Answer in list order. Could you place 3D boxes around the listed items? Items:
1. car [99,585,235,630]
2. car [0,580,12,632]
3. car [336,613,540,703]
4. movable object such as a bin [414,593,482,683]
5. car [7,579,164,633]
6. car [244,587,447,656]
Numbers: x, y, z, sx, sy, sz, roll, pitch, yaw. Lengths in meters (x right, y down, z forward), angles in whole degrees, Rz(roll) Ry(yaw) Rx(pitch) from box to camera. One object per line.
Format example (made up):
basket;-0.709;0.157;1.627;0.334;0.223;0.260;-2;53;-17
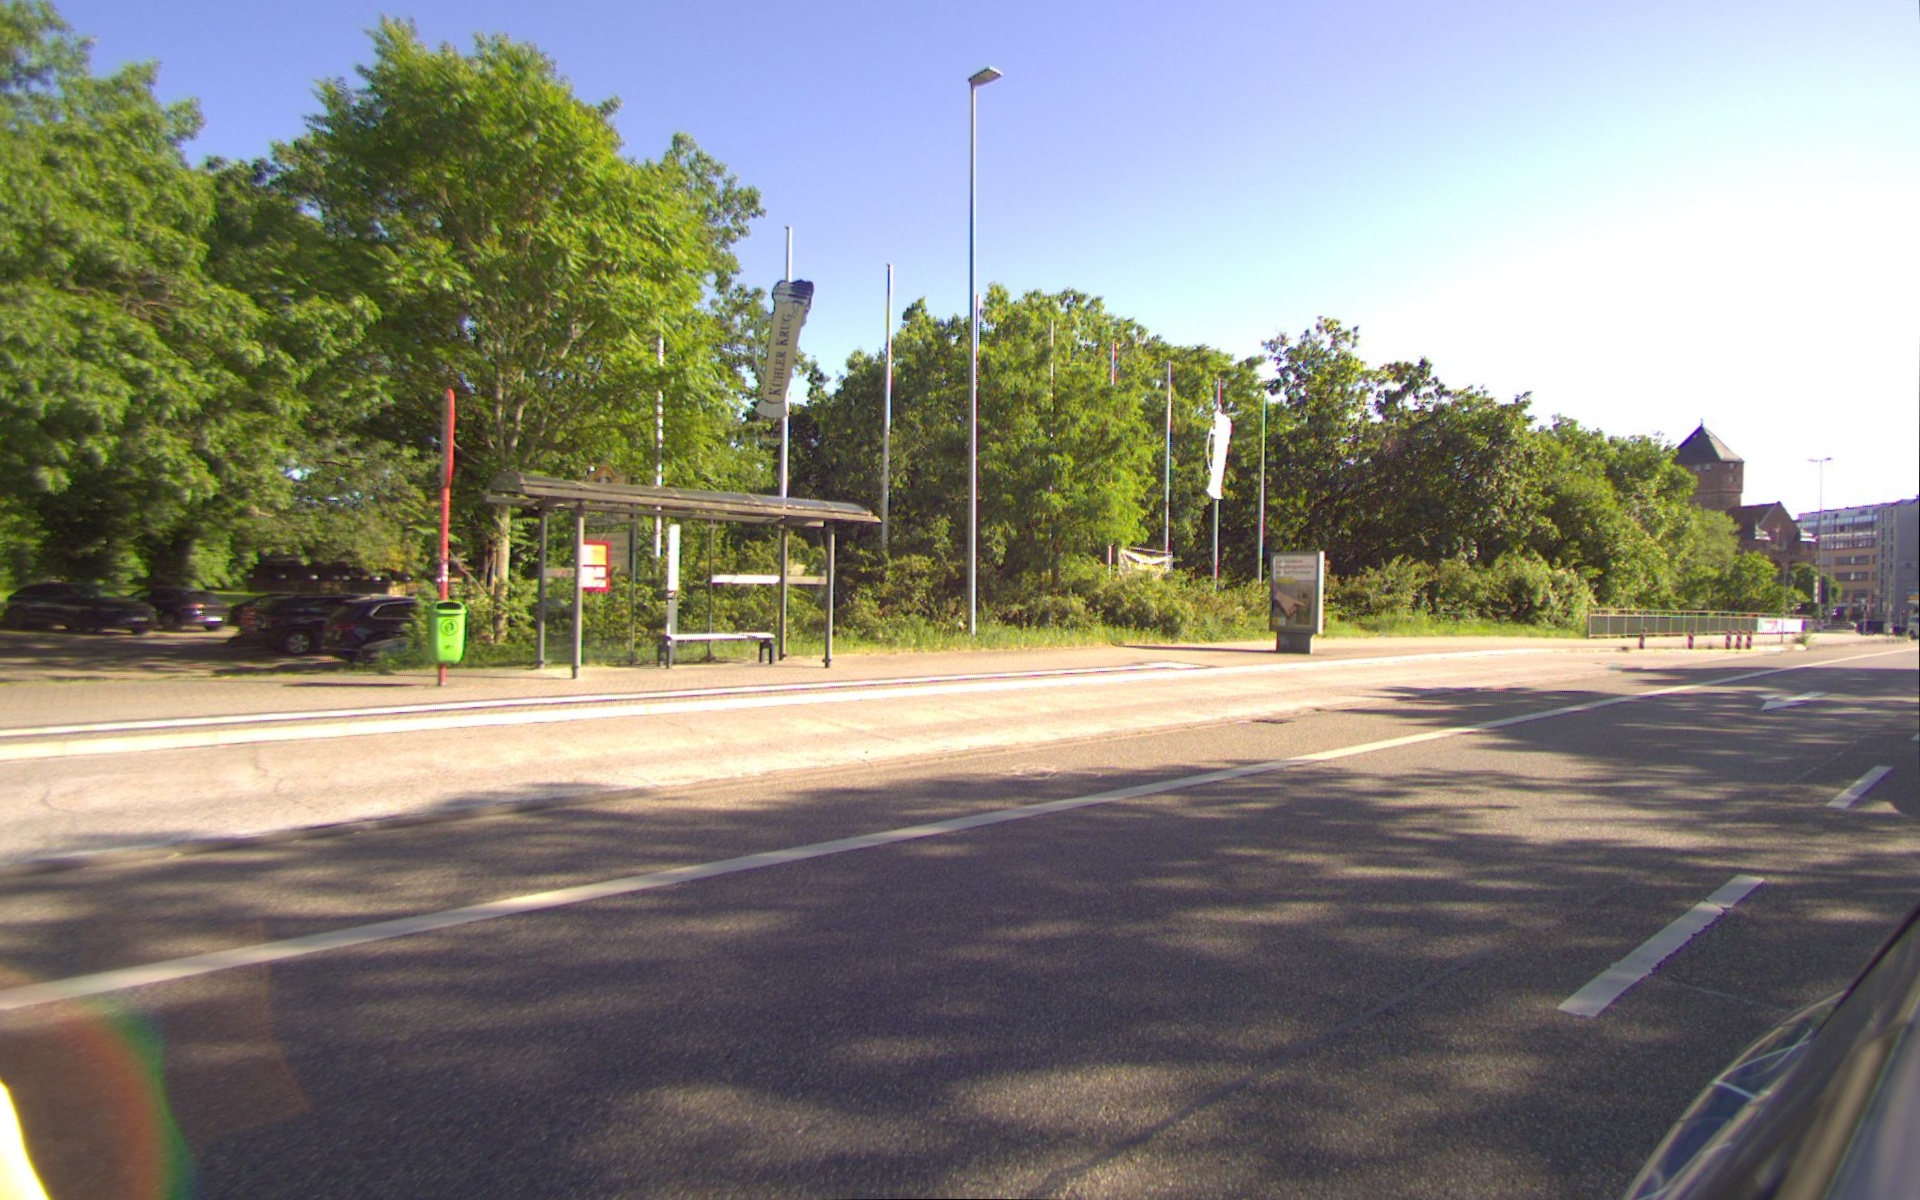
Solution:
car;-29.244;0.269;37.354;3.937;1.467;1.780;2;0;11
car;-30.339;0.202;29.197;3.918;1.575;2.003;-1;0;-27
car;-11.012;1.147;21.428;3.549;1.658;1.766;0;1;-40
movable object such as a bin;-6.248;0.444;12.349;0.568;1.043;0.728;1;0;-41
car;-29.726;0.193;34.454;3.937;1.621;1.994;2;0;11
car;-17.350;0.648;28.714;4.690;1.772;1.756;3;-3;-39
